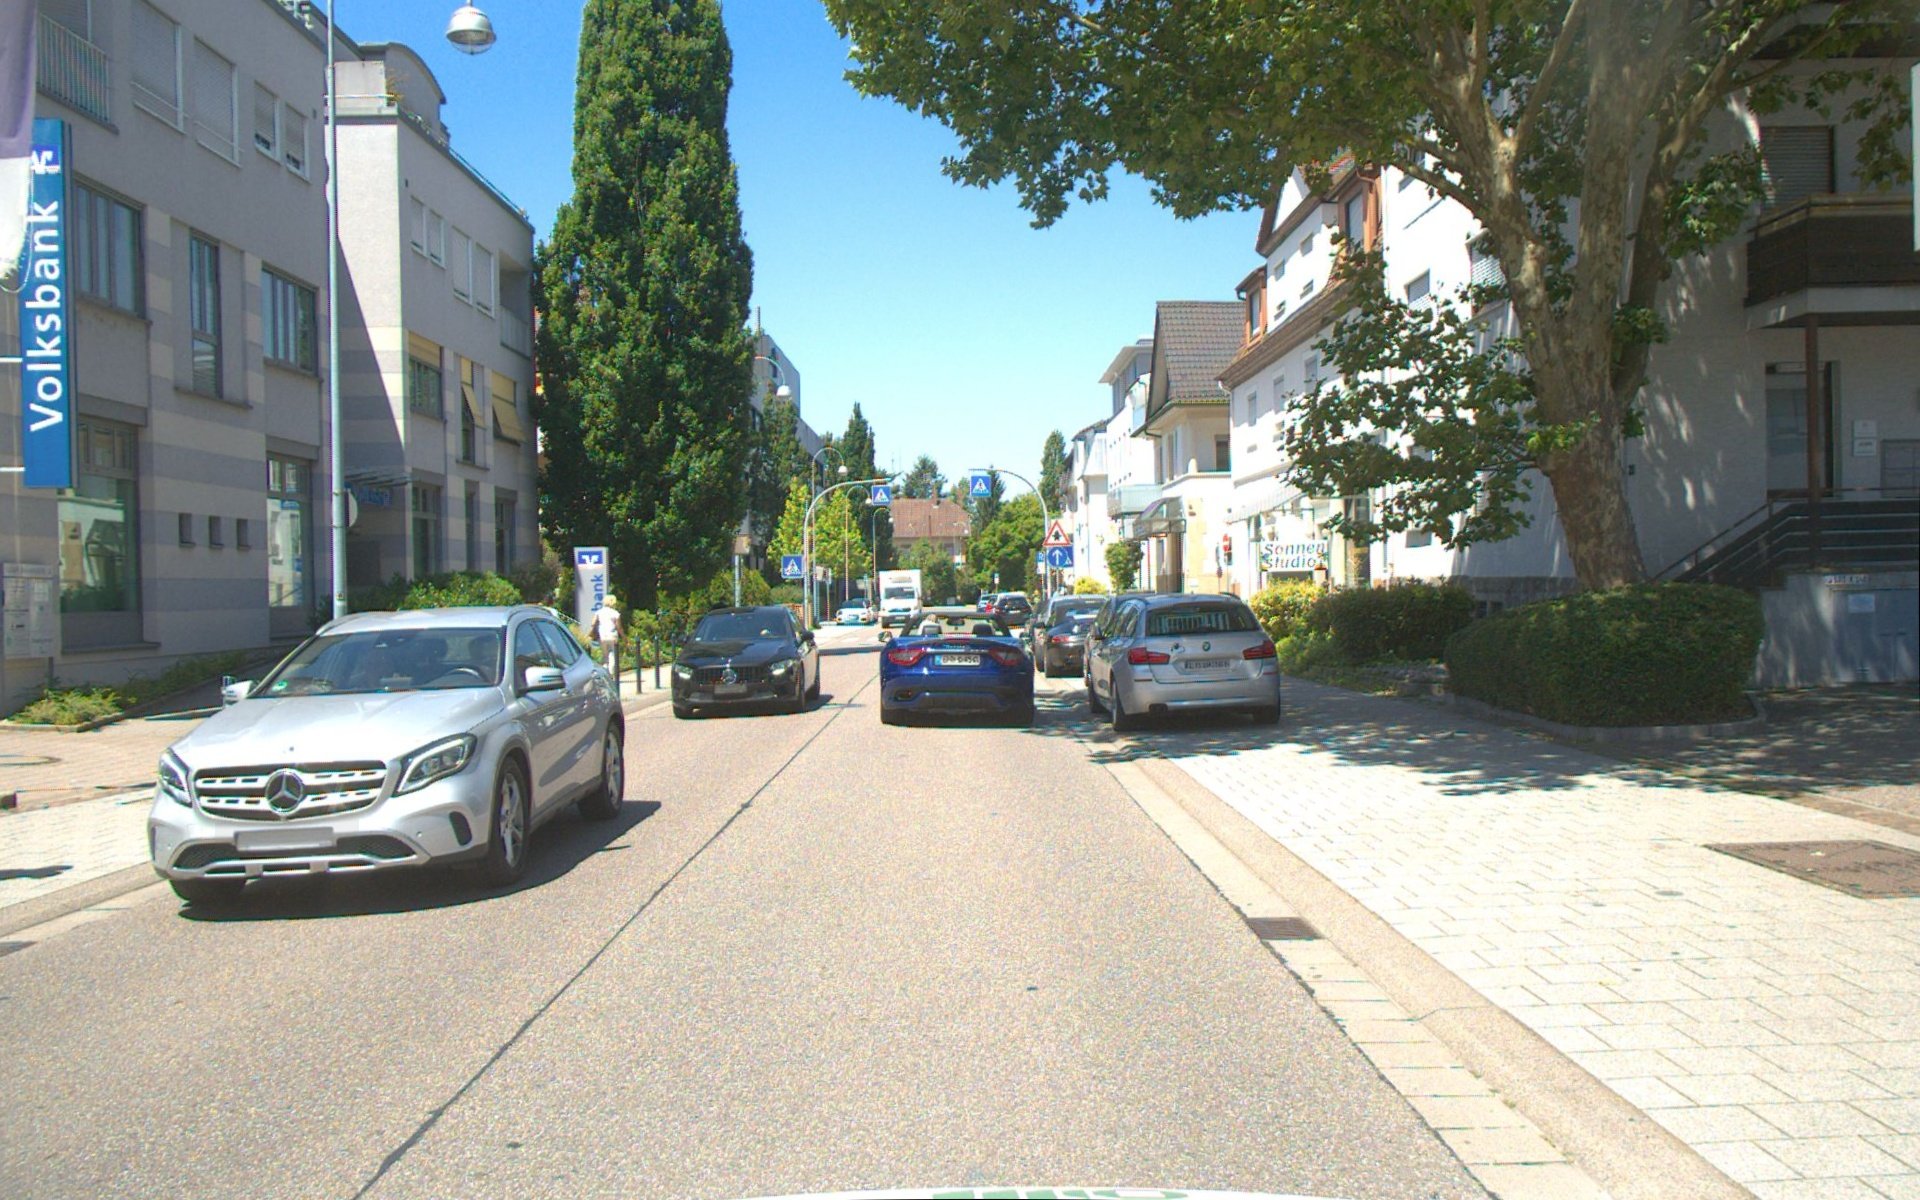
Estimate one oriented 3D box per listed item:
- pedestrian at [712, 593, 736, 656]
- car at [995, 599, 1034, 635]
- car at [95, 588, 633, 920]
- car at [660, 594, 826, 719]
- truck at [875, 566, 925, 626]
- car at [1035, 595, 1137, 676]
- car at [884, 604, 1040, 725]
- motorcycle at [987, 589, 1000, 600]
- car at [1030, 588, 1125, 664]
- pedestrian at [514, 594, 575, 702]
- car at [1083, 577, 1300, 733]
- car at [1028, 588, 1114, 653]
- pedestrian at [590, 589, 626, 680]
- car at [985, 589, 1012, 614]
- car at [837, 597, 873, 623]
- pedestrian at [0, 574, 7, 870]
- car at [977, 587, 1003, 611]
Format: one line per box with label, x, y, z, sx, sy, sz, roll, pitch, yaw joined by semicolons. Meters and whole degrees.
pedestrian;-6.519;0.681;45.657;0.525;1.714;0.708;-1;0;0
car;2.499;0.806;76.707;1.670;1.584;4.747;0;-1;0
car;-3.279;0.740;10.020;1.792;1.537;4.031;-2;0;-1
car;-2.998;0.731;23.665;1.792;1.537;4.261;-2;0;-1
truck;-3.158;-0.222;88.311;2.370;3.035;6.257;-2;0;0
car;2.342;0.633;31.613;1.526;1.364;4.173;-3;0;-1
car;0.016;0.744;21.317;1.789;1.360;4.700;0;0;0
motorcycle;3.727;-0.630;184.494;0.685;1.126;1.788;-3;0;28
car;2.585;0.544;37.379;1.708;1.494;4.851;-4;0;0
pedestrian;-6.664;0.755;26.562;0.733;1.673;0.848;-1;1;-1
car;2.578;0.570;19.564;1.792;1.537;4.759;-3;0;-1
car;2.740;0.493;41.781;1.789;1.451;4.700;-3;0;0
pedestrian;-6.746;0.657;31.735;0.525;1.714;0.708;-1;0;0
car;2.445;0.069;104.597;1.571;1.465;3.853;-4;0;1
car;-6.132;0.576;96.955;1.785;1.436;4.577;0;0;0
pedestrian;-5.805;0.699;9.070;0.608;1.706;0.903;1;0;-1
car;2.175;-0.110;121.385;1.806;1.647;4.427;-3;0;0
